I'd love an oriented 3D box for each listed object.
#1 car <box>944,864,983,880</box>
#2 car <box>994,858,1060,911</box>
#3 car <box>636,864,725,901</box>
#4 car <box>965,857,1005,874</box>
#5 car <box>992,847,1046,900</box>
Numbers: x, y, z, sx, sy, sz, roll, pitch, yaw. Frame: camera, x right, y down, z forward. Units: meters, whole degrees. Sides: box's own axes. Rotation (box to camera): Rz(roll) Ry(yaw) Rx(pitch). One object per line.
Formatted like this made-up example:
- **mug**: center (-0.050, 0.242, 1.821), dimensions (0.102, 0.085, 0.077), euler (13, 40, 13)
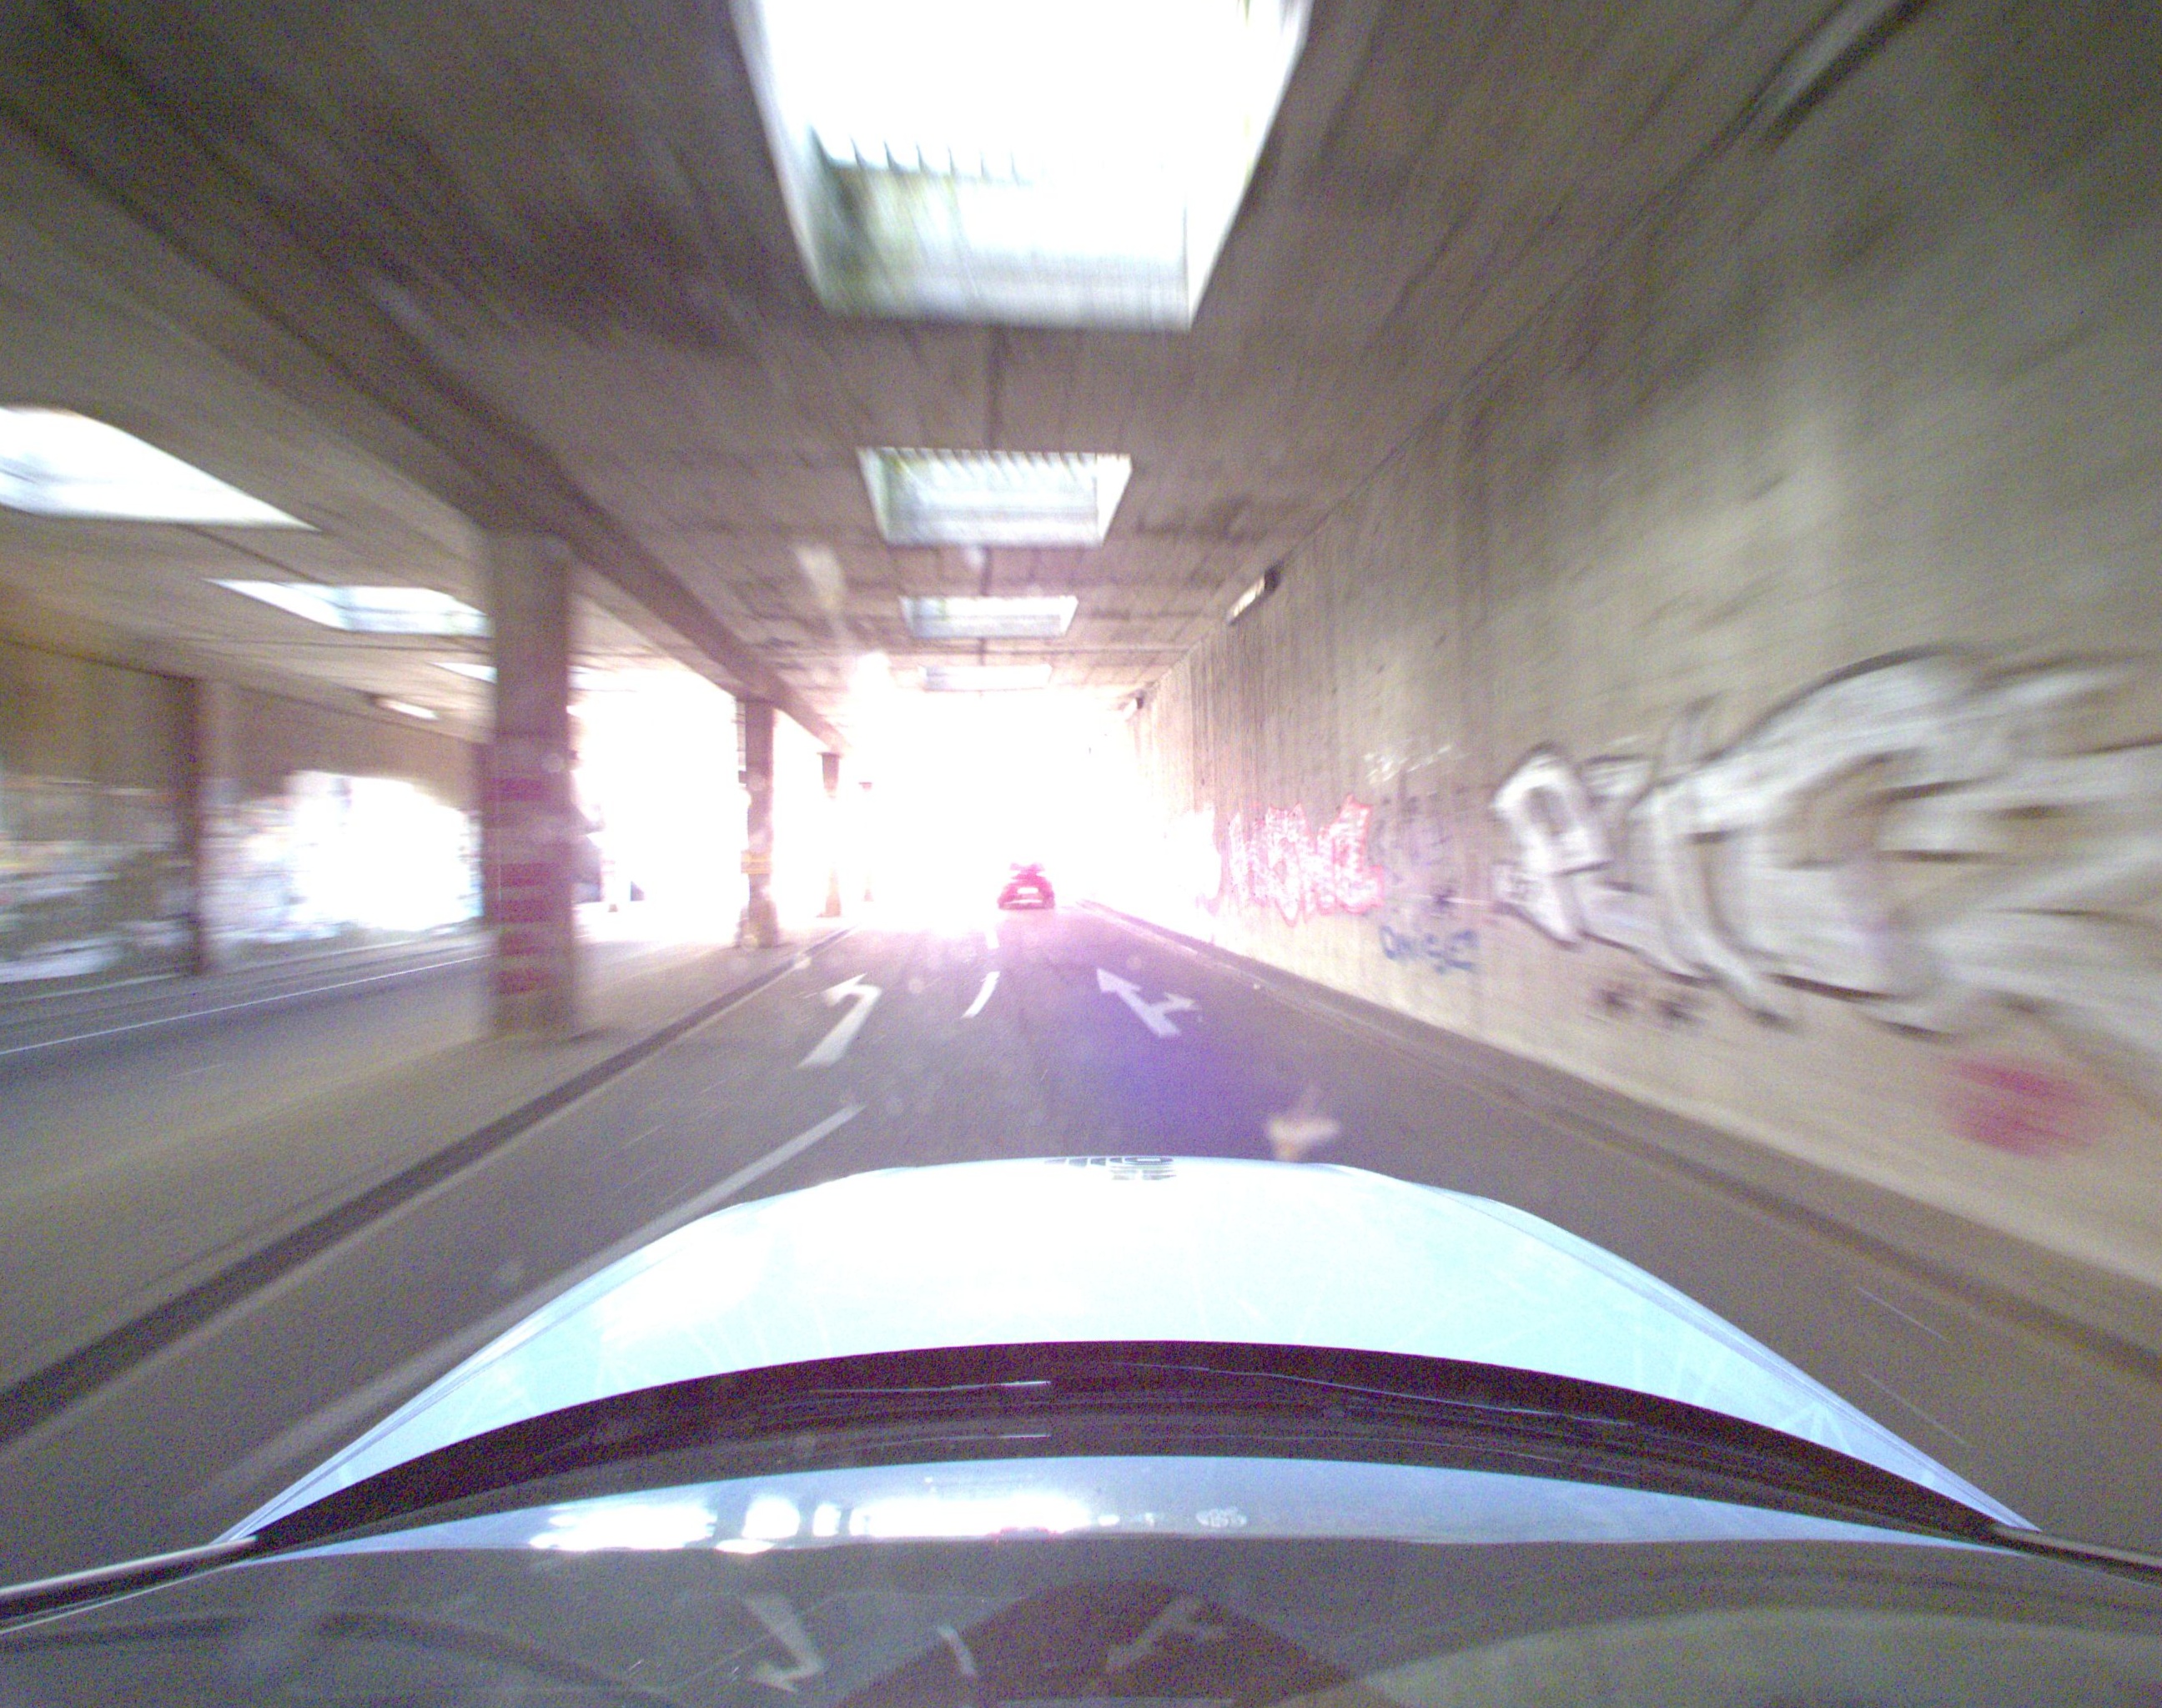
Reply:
- **car**: center (-12.671, 1.921, 87.617), dimensions (3.979, 1.574, 1.637), euler (-2, -1, -4)
- **car**: center (-1.804, 0.899, 26.038), dimensions (1.824, 1.501, 4.200), euler (-2, 0, -7)
- **car**: center (-24.826, 1.762, 50.649), dimensions (4.477, 2.013, 1.995), euler (-1, 2, -8)
- **car**: center (-10.836, 1.238, 92.129), dimensions (4.138, 1.739, 1.999), euler (-2, 0, -1)
- **car**: center (-2.539, 0.735, 32.276), dimensions (1.814, 1.882, 4.573), euler (-2, 0, -8)
